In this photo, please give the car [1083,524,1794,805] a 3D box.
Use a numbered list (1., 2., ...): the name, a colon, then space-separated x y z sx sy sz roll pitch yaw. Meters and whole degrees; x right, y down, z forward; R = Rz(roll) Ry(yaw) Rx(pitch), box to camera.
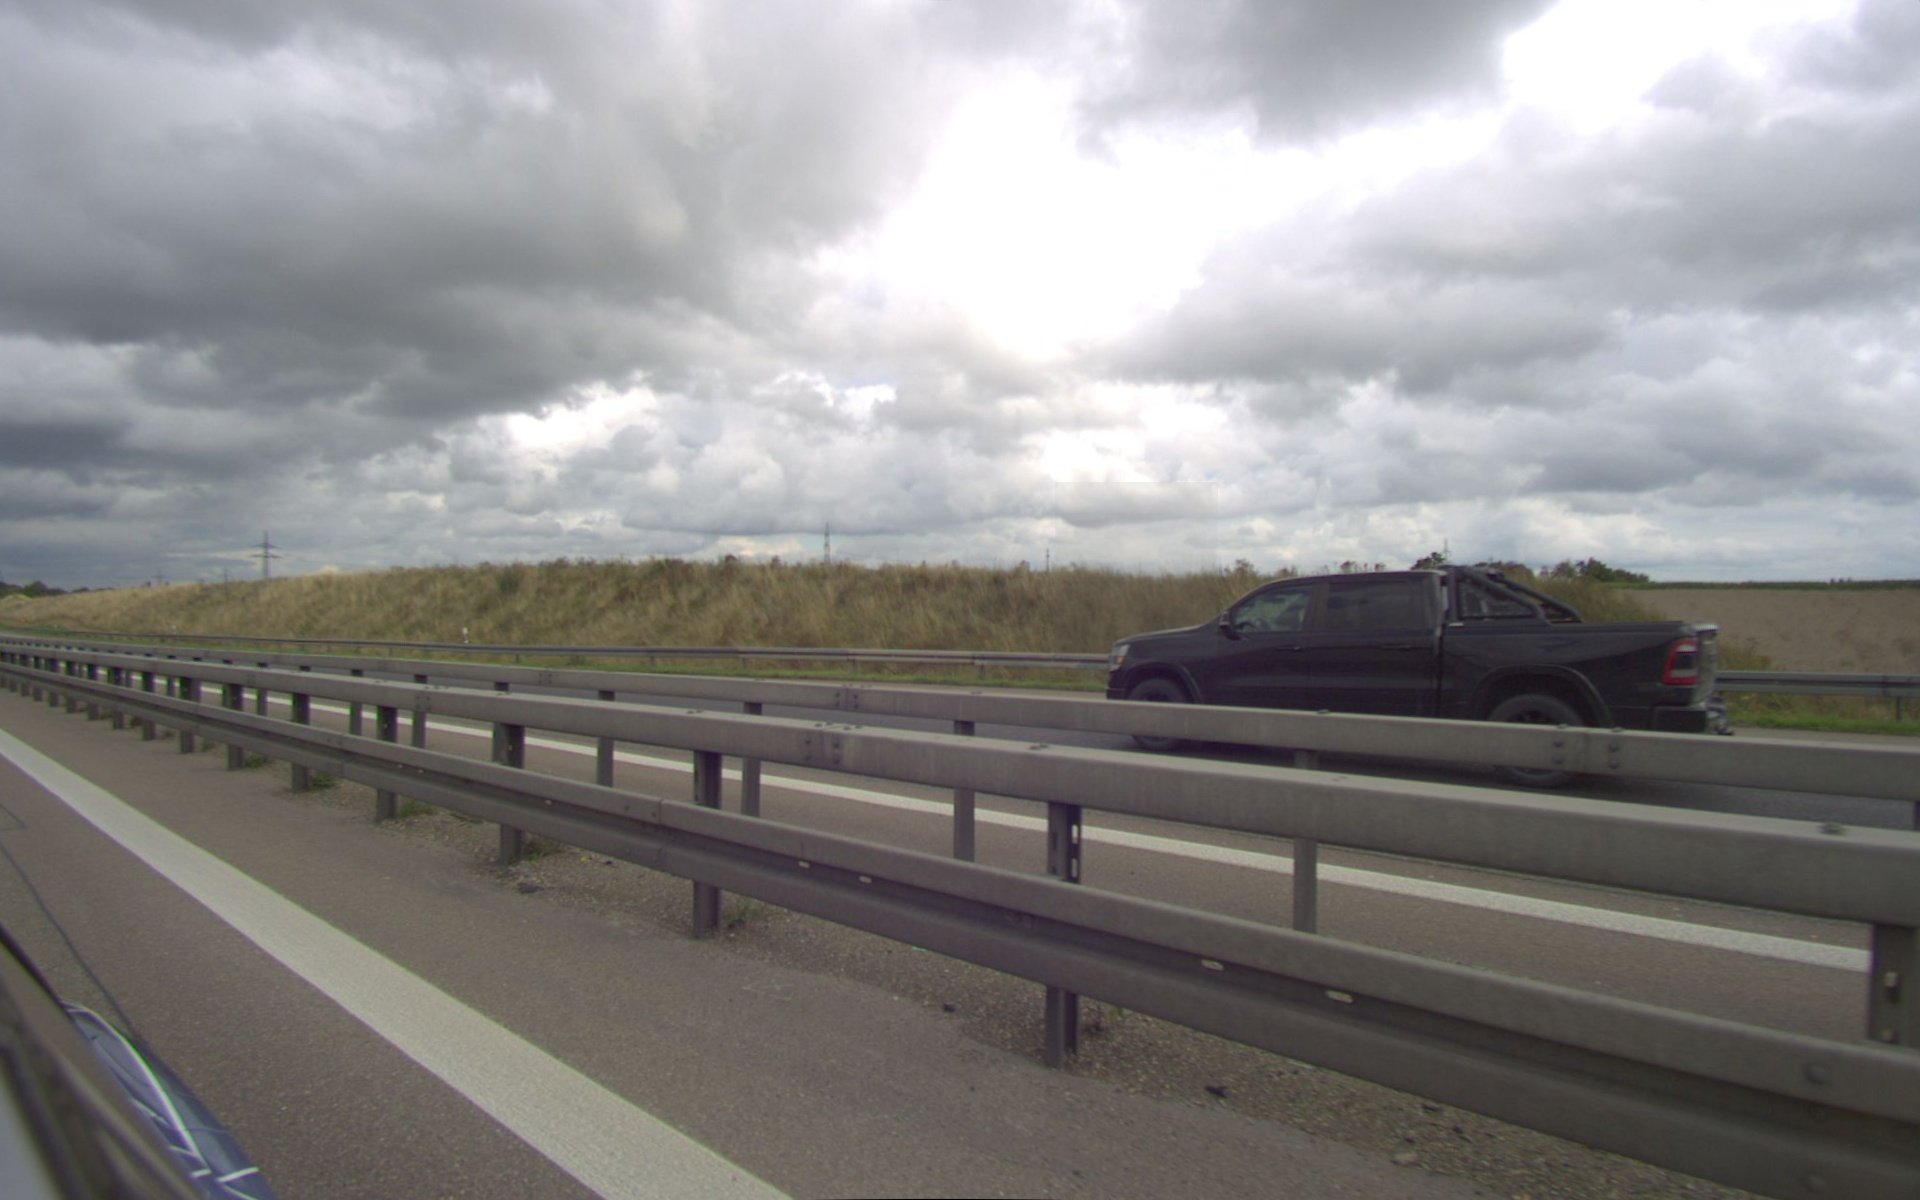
1. car: 4.319 0.547 10.093 6.099 2.029 1.973 -2 -2 41
